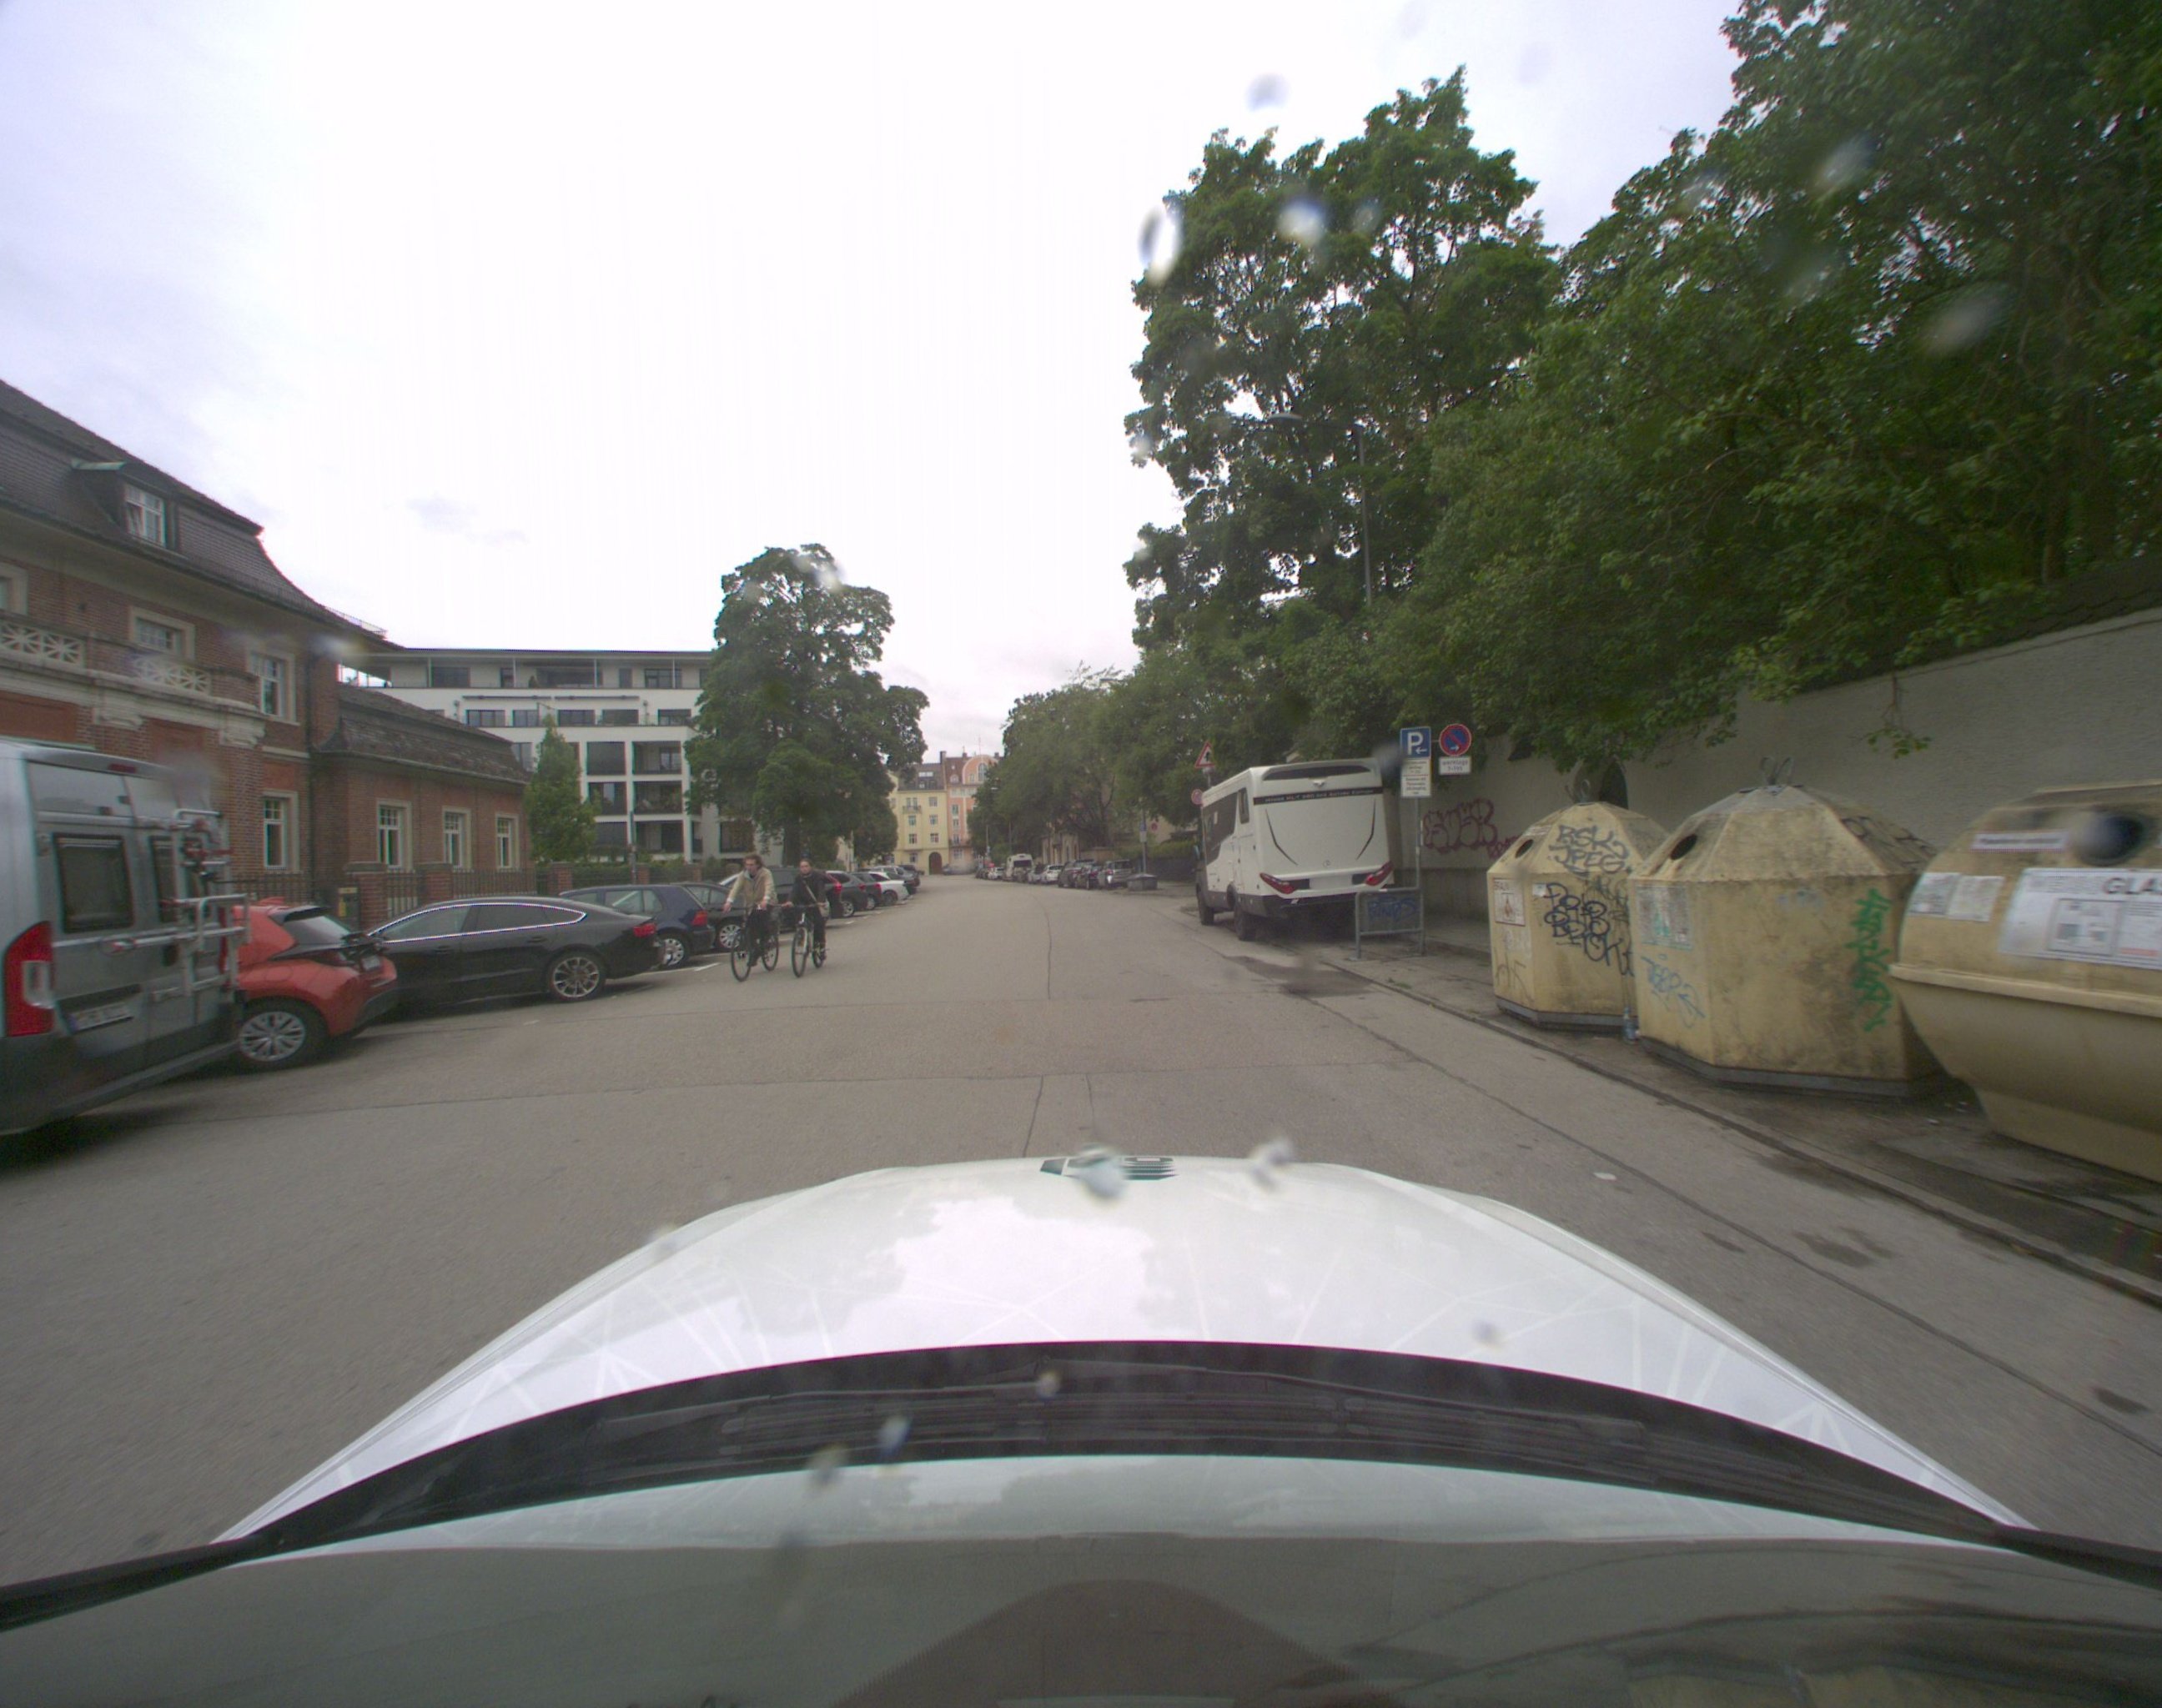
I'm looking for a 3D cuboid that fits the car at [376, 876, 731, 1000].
[{"bbox_3d":[-8.350,1.247,13.345,4.543,1.451,1.802,-3,-1,-32],"label":"car"}]

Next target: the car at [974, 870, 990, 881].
[{"bbox_3d":[-13.936,3.012,114.668,1.673,1.344,3.818,-3,1,-15],"label":"car"}]

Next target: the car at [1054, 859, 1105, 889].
[{"bbox_3d":[-0.170,1.268,51.108,1.997,1.711,4.860,-3,-1,-14],"label":"car"}]

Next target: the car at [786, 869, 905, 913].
[{"bbox_3d":[-10.238,1.601,35.571,4.537,1.509,1.910,-4,-1,-36],"label":"car"}]

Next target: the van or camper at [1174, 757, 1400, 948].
[{"bbox_3d":[3.641,0.033,16.364,2.267,2.906,7.268,-2,-1,-3],"label":"van or camper"}]

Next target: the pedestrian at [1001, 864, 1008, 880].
[{"bbox_3d":[-10.067,2.372,106.823,0.773,2.014,0.560,-2,-2,-12],"label":"pedestrian"}]

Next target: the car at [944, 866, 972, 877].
[{"bbox_3d":[-21.709,3.059,143.771,4.710,1.881,1.831,-1,-2,-14],"label":"car"}]

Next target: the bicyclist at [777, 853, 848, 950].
[{"bbox_3d":[-3.952,0.681,12.026,0.694,1.352,0.930,-2,-1,0],"label":"bicyclist"}]

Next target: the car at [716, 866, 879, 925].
[{"bbox_3d":[-8.992,1.280,25.948,4.545,1.568,1.869,-2,-1,-34],"label":"car"}]

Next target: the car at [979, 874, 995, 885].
[{"bbox_3d":[-12.688,3.397,109.920,1.673,1.344,3.818,-3,1,-15],"label":"car"}]

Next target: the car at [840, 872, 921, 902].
[{"bbox_3d":[-12.428,2.018,50.603,4.429,1.621,2.064,-2,-2,-33],"label":"car"}]

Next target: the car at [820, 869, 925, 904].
[{"bbox_3d":[-9.881,1.513,38.858,4.437,1.439,1.942,-1,-2,-43],"label":"car"}]

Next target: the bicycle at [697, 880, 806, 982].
[{"bbox_3d":[-4.766,1.065,11.953,0.705,1.306,2.117,-2,-1,0],"label":"bicycle"}]

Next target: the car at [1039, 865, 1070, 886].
[{"bbox_3d":[-2.009,1.638,60.479,1.686,1.441,3.984,-3,-2,-11],"label":"car"}]

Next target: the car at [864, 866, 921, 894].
[{"bbox_3d":[-15.830,2.140,68.513,4.240,2.066,1.716,-3,-1,-41],"label":"car"}]

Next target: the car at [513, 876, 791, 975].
[{"bbox_3d":[-8.292,1.301,16.014,4.543,1.418,1.908,-3,-1,-32],"label":"car"}]

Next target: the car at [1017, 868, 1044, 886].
[{"bbox_3d":[-4.446,2.020,71.082,1.708,1.369,4.422,-3,-1,-11],"label":"car"}]

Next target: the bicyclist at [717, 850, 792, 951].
[{"bbox_3d":[-4.774,0.660,11.960,0.694,1.397,0.930,-2,-1,-1],"label":"bicyclist"}]

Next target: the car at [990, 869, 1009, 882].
[{"bbox_3d":[-9.577,2.577,95.667,1.709,1.408,4.111,-3,-1,-13],"label":"car"}]

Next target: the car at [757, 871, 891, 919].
[{"bbox_3d":[-9.438,1.476,30.033,4.412,1.451,1.640,-2,-1,-33],"label":"car"}]

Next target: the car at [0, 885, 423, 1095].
[{"bbox_3d":[-8.825,1.123,7.040,4.537,1.517,1.920,-2,-2,-27],"label":"car"}]

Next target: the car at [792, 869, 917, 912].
[{"bbox_3d":[-9.253,1.467,33.392,4.537,1.451,1.876,-2,-2,-36],"label":"car"}]

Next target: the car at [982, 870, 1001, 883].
[{"bbox_3d":[-11.561,2.824,104.628,1.807,1.466,3.817,-3,0,-15],"label":"car"}]

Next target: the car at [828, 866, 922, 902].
[{"bbox_3d":[-11.175,1.607,44.364,4.438,1.699,2.110,-1,-2,-44],"label":"car"}]

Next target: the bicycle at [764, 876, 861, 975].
[{"bbox_3d":[-3.922,0.998,12.107,0.704,1.306,2.117,-2,-1,0],"label":"bicycle"}]

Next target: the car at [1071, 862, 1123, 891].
[{"bbox_3d":[0.847,1.293,46.595,1.880,1.427,4.201,-3,-1,-14],"label":"car"}]

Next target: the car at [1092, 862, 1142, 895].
[{"bbox_3d":[1.862,1.291,42.595,1.742,1.536,2.931,-3,-2,-14],"label":"car"}]

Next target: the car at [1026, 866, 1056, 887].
[{"bbox_3d":[-3.246,1.800,65.443,1.708,1.537,4.223,-4,-1,-11],"label":"car"}]

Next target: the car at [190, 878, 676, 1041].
[{"bbox_3d":[-7.844,1.179,10.550,4.540,1.451,1.959,-3,-1,-29],"label":"car"}]

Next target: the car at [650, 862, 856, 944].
[{"bbox_3d":[-8.278,1.186,20.667,4.543,1.665,1.967,-3,-2,-32],"label":"car"}]

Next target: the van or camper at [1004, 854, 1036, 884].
[{"bbox_3d":[-5.890,1.462,77.787,2.194,2.550,5.703,-3,-1,-12],"label":"van or camper"}]

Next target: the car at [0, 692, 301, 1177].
[{"bbox_3d":[-7.895,0.535,4.481,4.646,2.563,2.215,-3,-1,-26],"label":"car"}]
